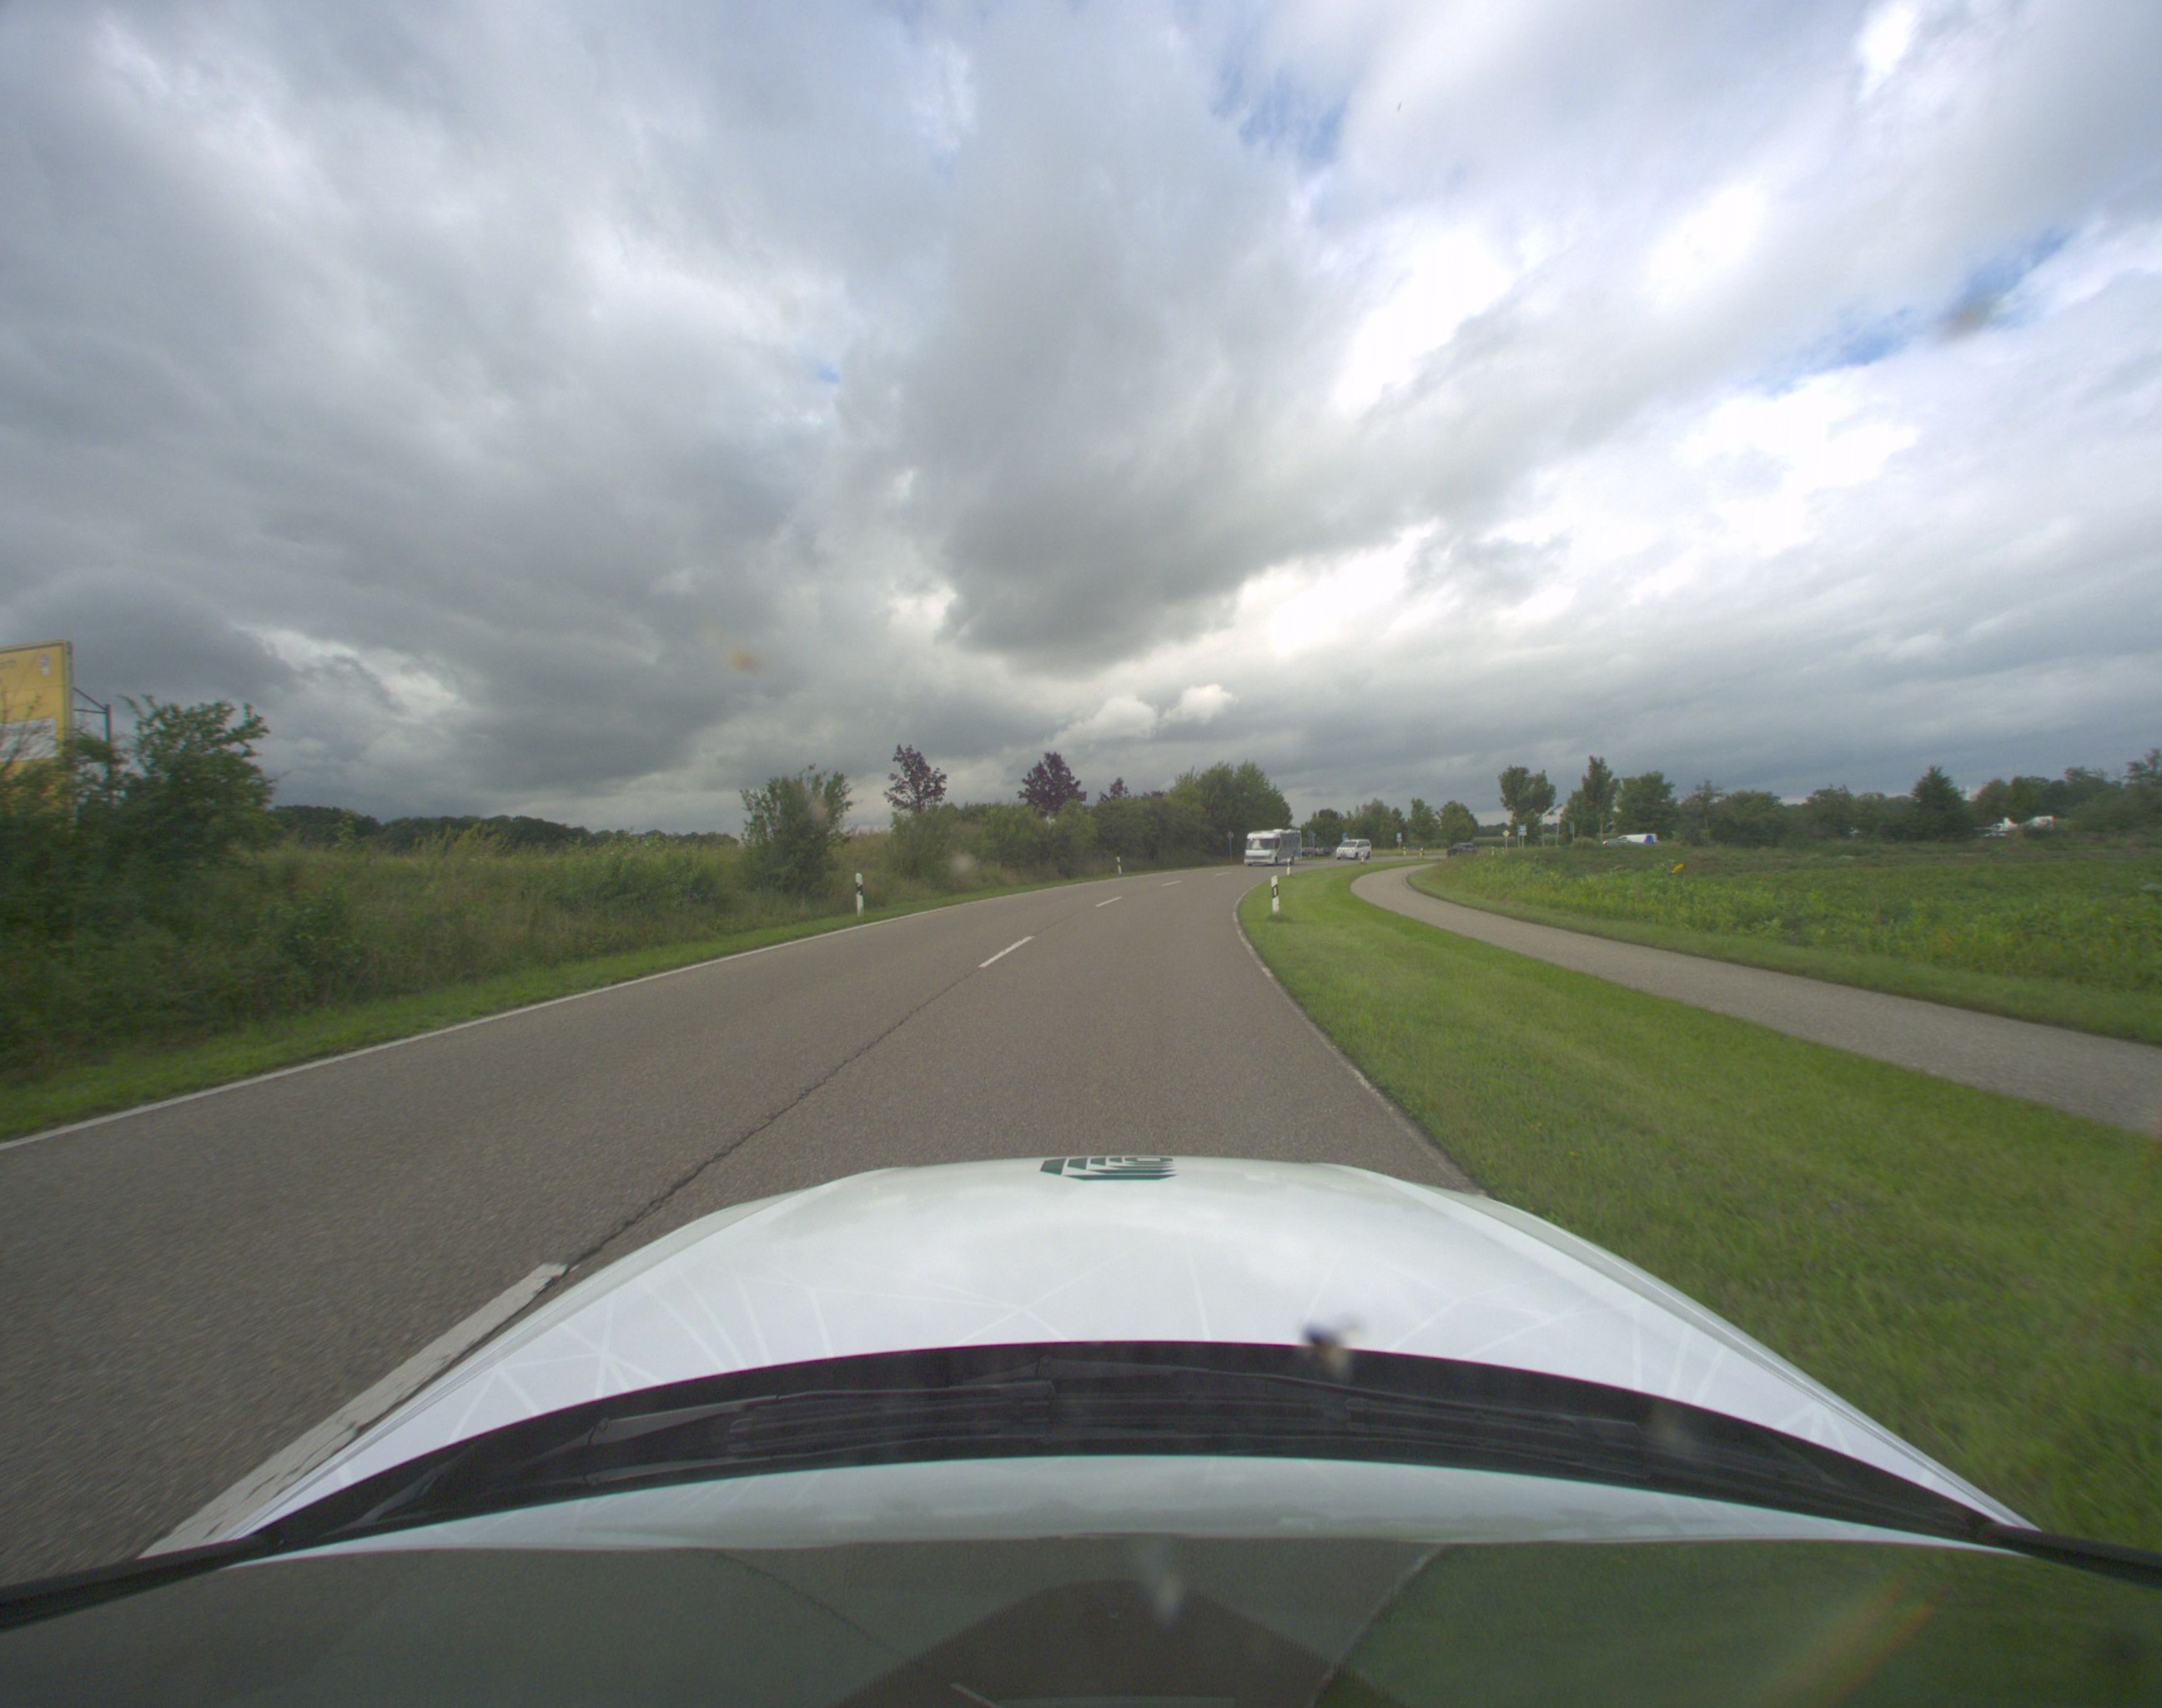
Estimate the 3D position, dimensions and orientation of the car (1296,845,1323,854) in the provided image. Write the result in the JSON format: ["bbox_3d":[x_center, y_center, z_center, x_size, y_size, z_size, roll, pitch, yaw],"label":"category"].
[{"bbox_3d":[35.958,-0.738,127.975,3.952,1.380,1.484,-1,0,22],"label":"car"}]

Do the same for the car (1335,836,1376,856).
[{"bbox_3d":[26.630,-0.802,78.996,2.093,1.868,5.220,-1,0,39],"label":"car"}]

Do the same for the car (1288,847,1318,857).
[{"bbox_3d":[33.821,-0.289,123.947,3.948,1.380,1.836,-1,0,34],"label":"car"}]

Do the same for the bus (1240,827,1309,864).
[{"bbox_3d":[15.285,-0.664,63.822,2.451,2.711,8.484,-1,0,34],"label":"bus"}]

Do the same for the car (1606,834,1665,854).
[{"bbox_3d":[58.949,-1.074,86.608,1.966,1.974,4.901,-1,0,-45],"label":"car"}]

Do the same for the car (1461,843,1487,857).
[{"bbox_3d":[41.313,-0.413,85.611,1.827,1.417,4.018,-1,0,17],"label":"car"}]
